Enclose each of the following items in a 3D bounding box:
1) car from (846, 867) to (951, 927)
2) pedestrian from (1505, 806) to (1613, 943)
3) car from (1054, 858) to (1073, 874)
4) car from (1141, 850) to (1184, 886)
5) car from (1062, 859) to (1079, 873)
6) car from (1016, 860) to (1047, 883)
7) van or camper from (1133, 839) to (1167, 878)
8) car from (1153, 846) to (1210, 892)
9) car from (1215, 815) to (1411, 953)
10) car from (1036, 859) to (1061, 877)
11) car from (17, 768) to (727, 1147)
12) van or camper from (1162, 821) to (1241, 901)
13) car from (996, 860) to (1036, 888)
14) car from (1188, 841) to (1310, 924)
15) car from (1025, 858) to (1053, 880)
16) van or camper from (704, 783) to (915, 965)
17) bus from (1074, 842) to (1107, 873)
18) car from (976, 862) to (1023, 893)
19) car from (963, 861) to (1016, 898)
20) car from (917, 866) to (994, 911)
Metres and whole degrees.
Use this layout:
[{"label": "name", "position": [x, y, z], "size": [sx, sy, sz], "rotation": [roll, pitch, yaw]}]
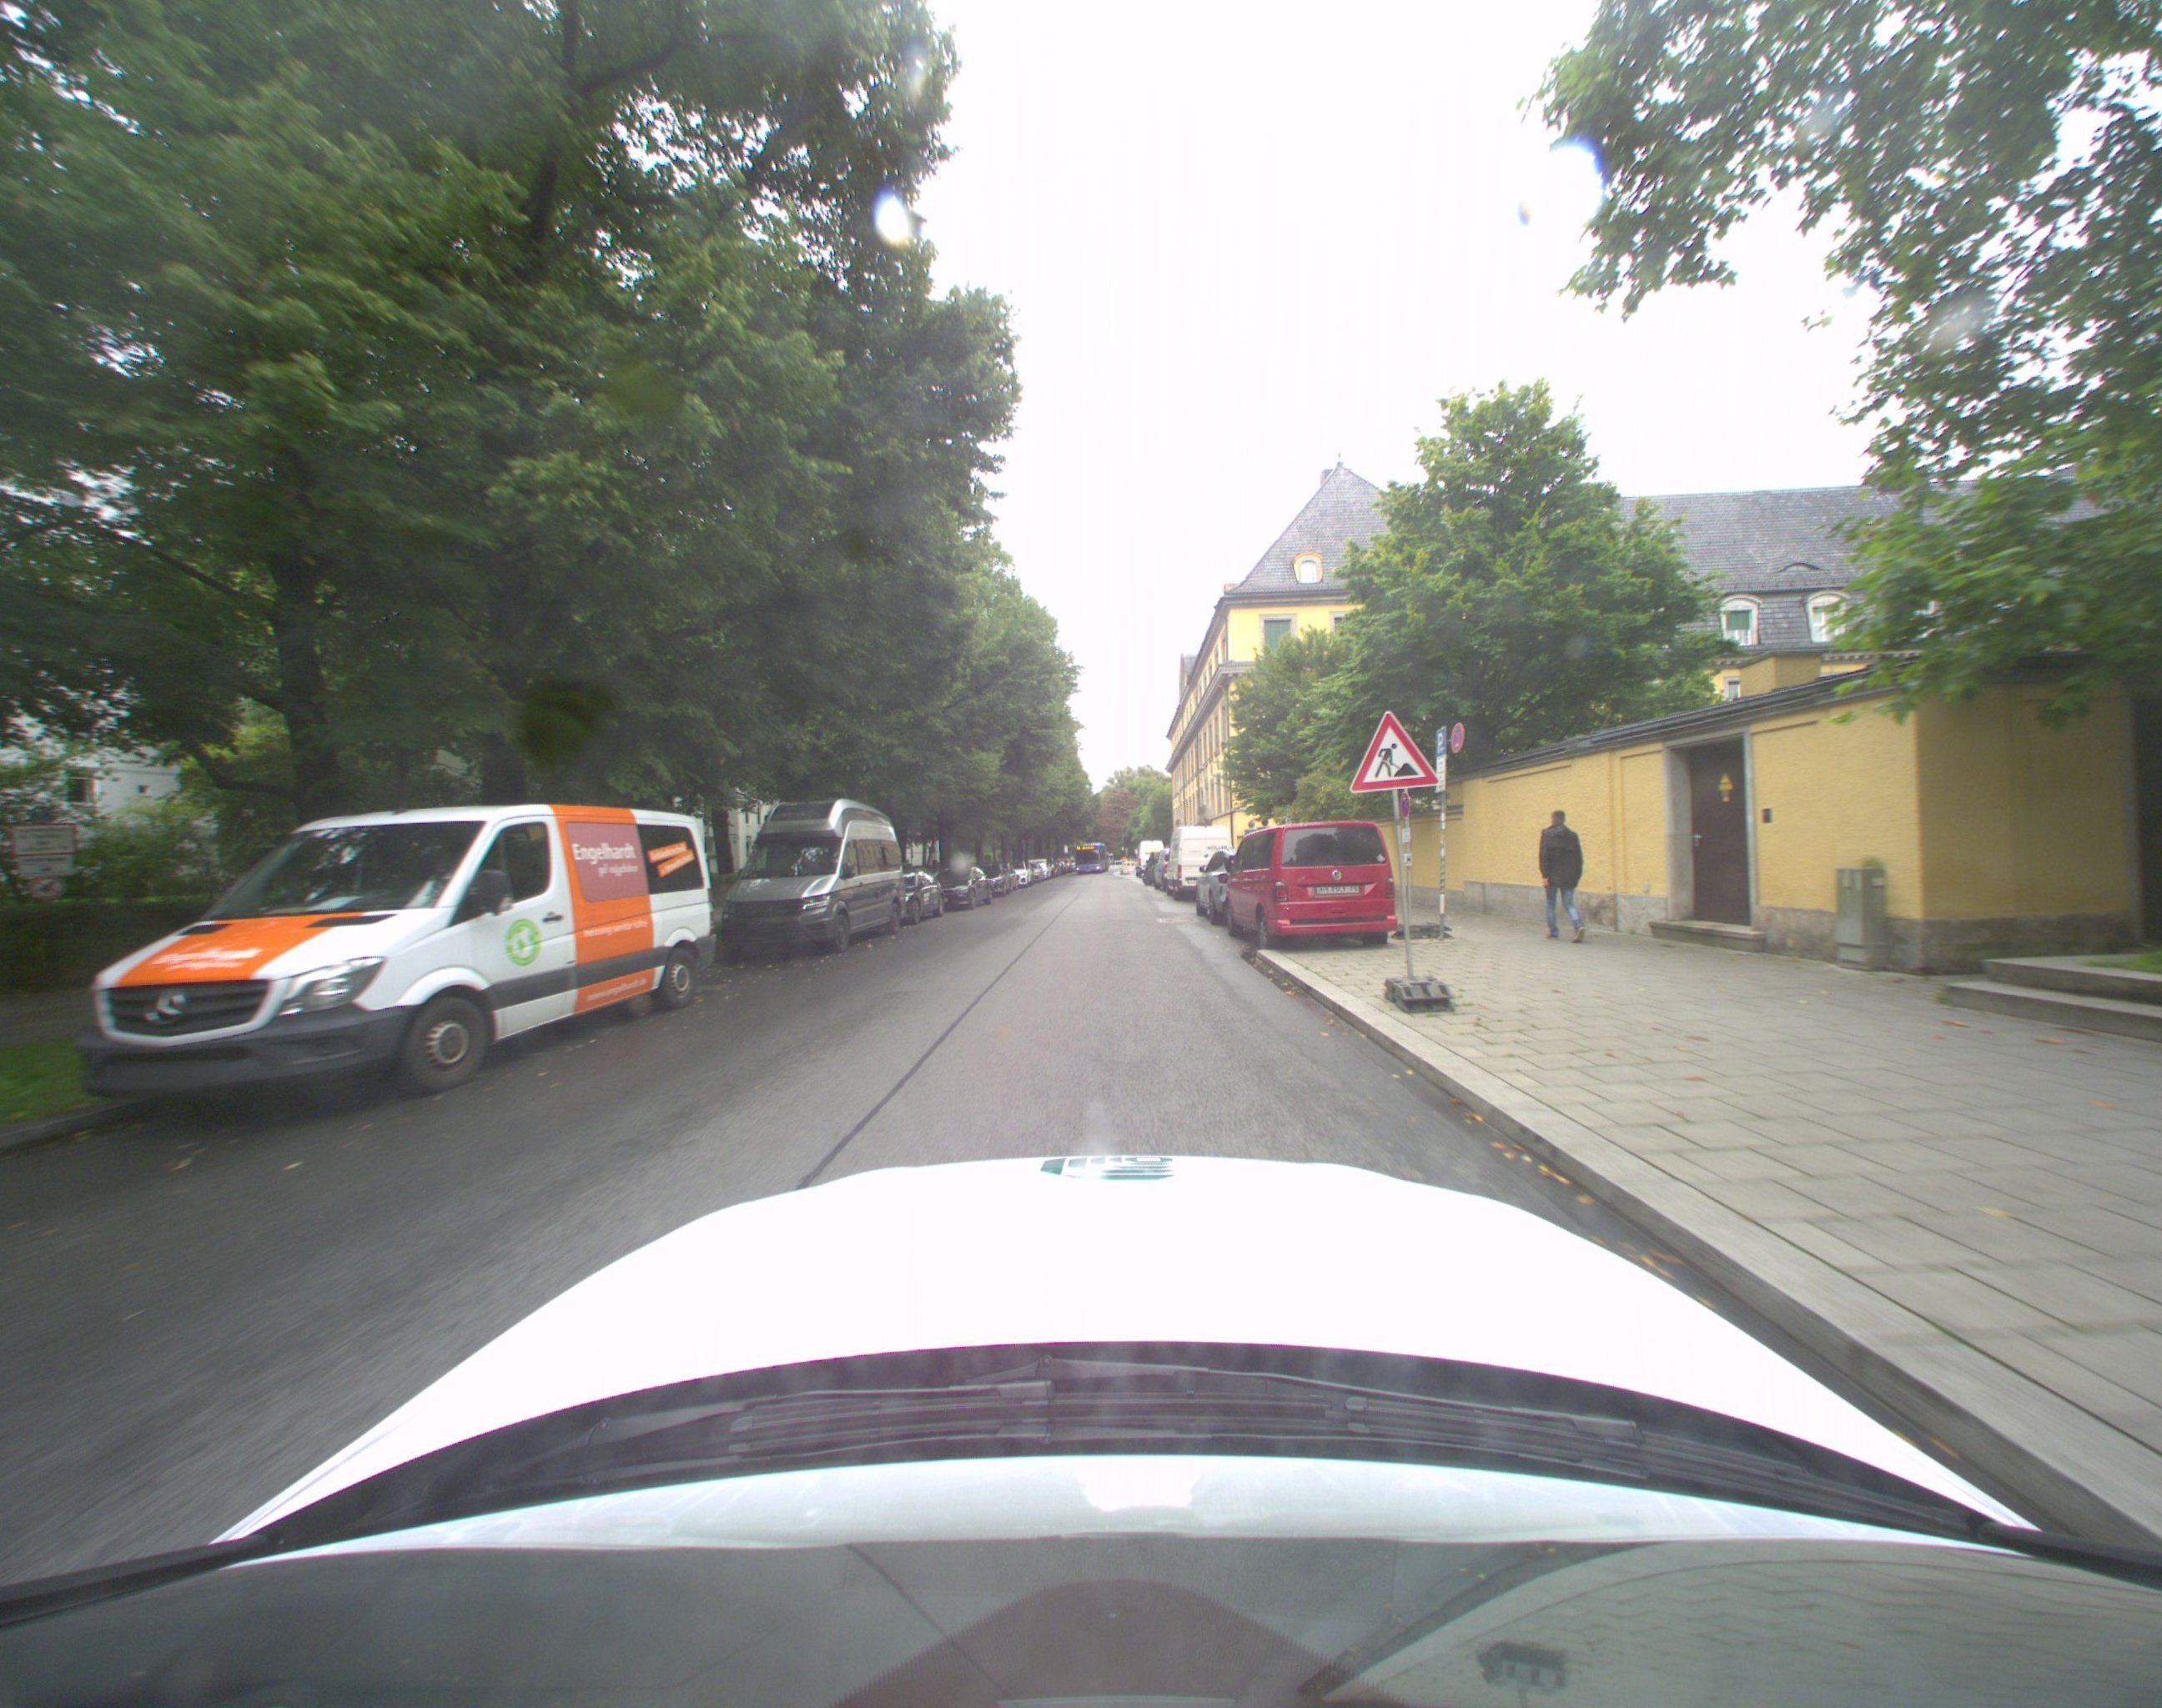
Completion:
[{"label": "car", "position": [-4.941, 1.125, 22.653], "size": [1.867, 1.416, 4.002], "rotation": [-2, 0, 2]}, {"label": "pedestrian", "position": [6.742, 0.276, 11.540], "size": [0.870, 1.831, 1.053], "rotation": [-2, 0, 2]}, {"label": "car", "position": [-1.967, 1.337, 92.728], "size": [1.845, 1.701, 4.002], "rotation": [-2, 0, 2]}, {"label": "car", "position": [4.517, 0.768, 45.658], "size": [1.984, 1.844, 4.323], "rotation": [-3, 0, 1]}, {"label": "car", "position": [-1.322, 1.452, 101.445], "size": [1.845, 1.572, 4.002], "rotation": [-2, 0, 2]}, {"label": "car", "position": [-3.490, 1.229, 58.006], "size": [1.845, 1.473, 4.002], "rotation": [-2, 0, 2]}, {"label": "van or camper", "position": [5.163, 0.346, 61.551], "size": [2.107, 2.732, 5.245], "rotation": [-3, 0, 2]}, {"label": "car", "position": [4.457, 0.663, 36.726], "size": [1.984, 1.844, 4.323], "rotation": [-3, 0, 1]}, {"label": "car", "position": [3.668, 0.434, 13.886], "size": [1.984, 1.839, 4.714], "rotation": [-3, 0, 1]}, {"label": "car", "position": [-2.772, 1.172, 70.376], "size": [1.845, 1.473, 4.002], "rotation": [-2, 0, 2]}, {"label": "car", "position": [-5.596, 0.662, 7.728], "size": [1.939, 2.272, 5.245], "rotation": [-3, 0, 2]}, {"label": "van or camper", "position": [4.249, 0.235, 29.533], "size": [2.124, 2.546, 5.245], "rotation": [-3, 0, 2]}, {"label": "car", "position": [-3.753, 1.128, 47.895], "size": [1.845, 1.473, 4.002], "rotation": [-2, 0, 2]}, {"label": "car", "position": [3.792, 0.607, 19.146], "size": [1.984, 1.609, 4.323], "rotation": [-3, 0, 1]}, {"label": "car", "position": [-3.248, 1.165, 63.719], "size": [1.845, 1.564, 4.002], "rotation": [-2, 0, 2]}, {"label": "van or camper", "position": [-5.183, 0.352, 16.677], "size": [1.993, 2.945, 6.012], "rotation": [-3, 0, 2]}, {"label": "bus", "position": [1.127, 0.367, 86.415], "size": [2.701, 2.899, 14.565], "rotation": [-2, 0, 3]}, {"label": "car", "position": [-4.155, 1.175, 41.950], "size": [1.845, 1.473, 4.002], "rotation": [-2, 0, 2]}, {"label": "car", "position": [-4.072, 1.107, 36.838], "size": [1.846, 1.473, 4.000], "rotation": [-2, 0, 1]}, {"label": "car", "position": [-4.255, 1.131, 28.191], "size": [1.867, 1.347, 4.002], "rotation": [-2, 0, 2]}]
